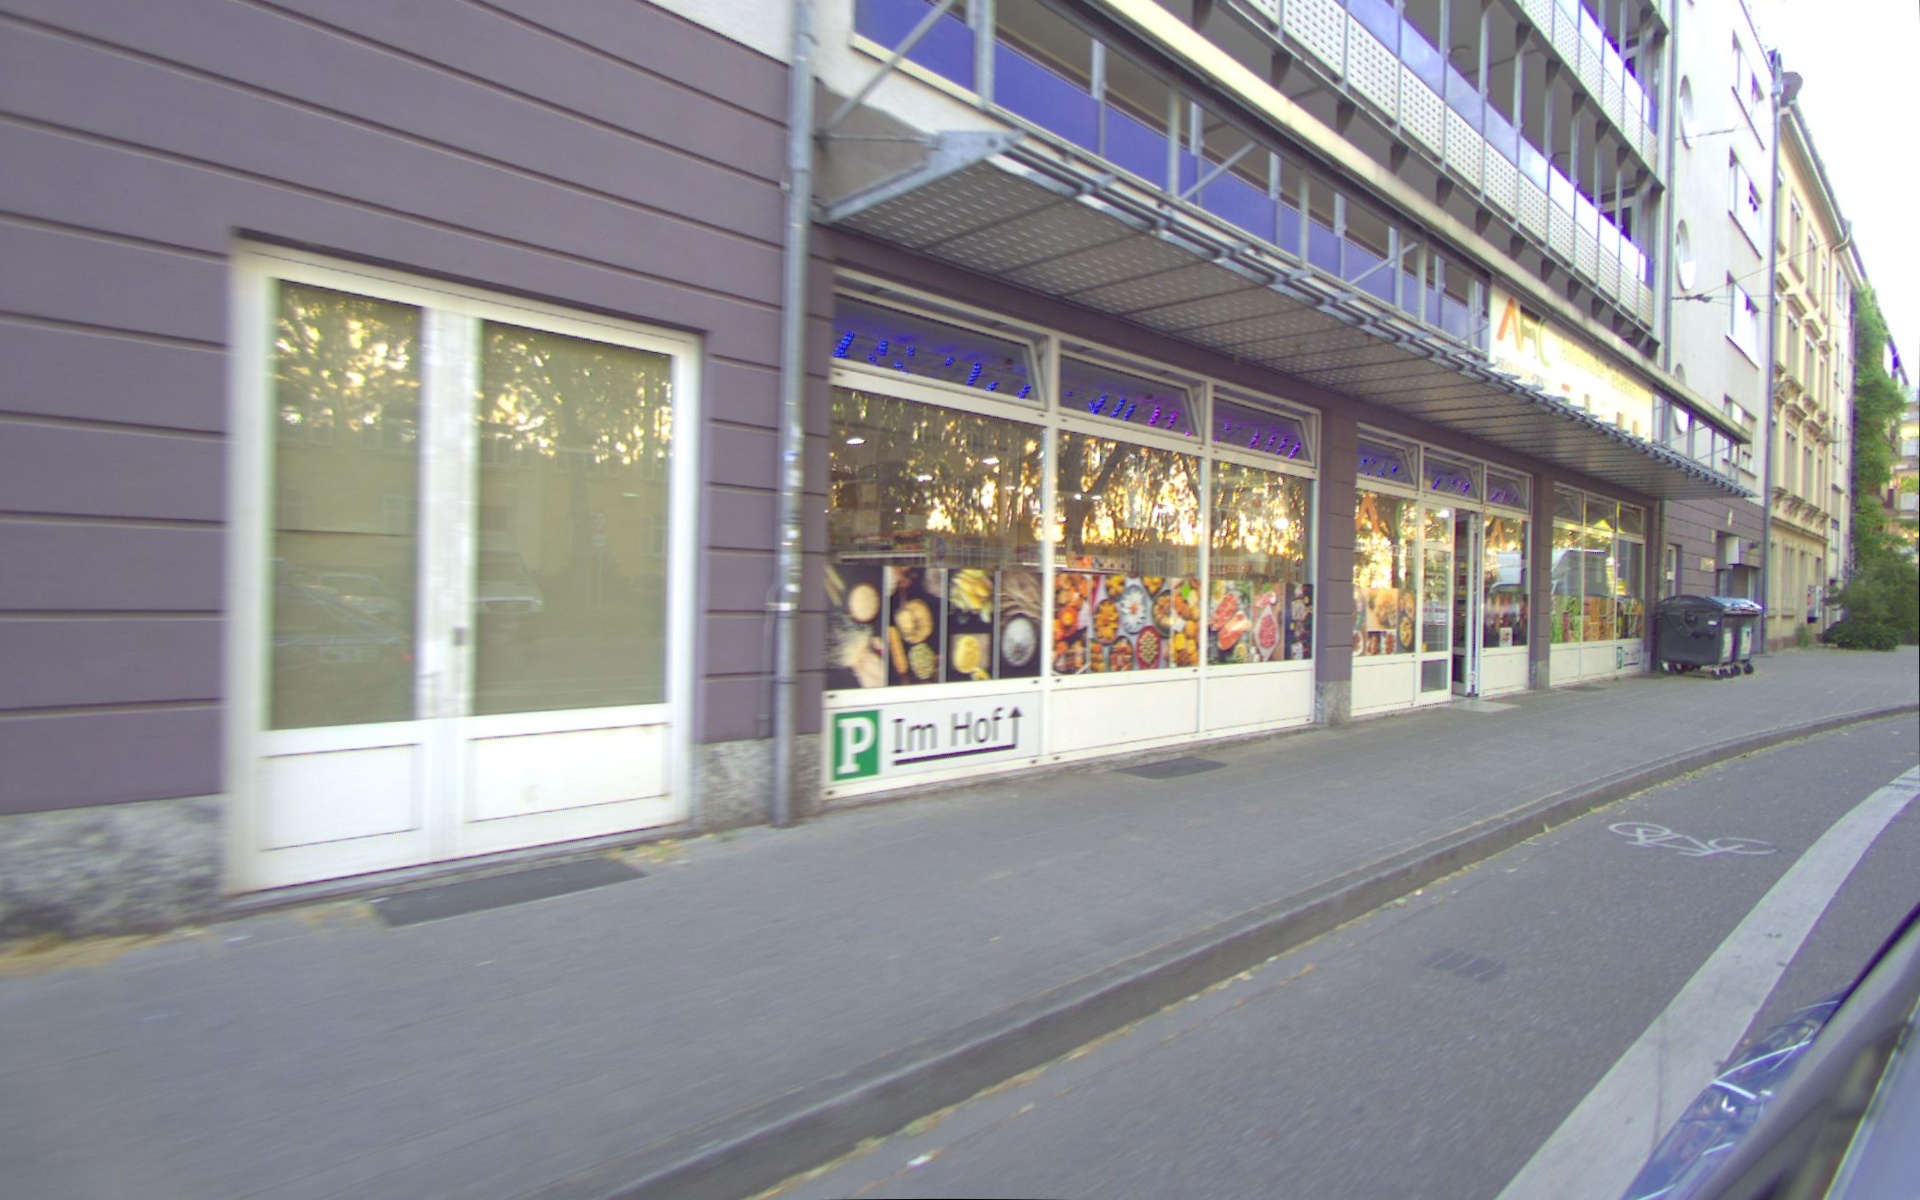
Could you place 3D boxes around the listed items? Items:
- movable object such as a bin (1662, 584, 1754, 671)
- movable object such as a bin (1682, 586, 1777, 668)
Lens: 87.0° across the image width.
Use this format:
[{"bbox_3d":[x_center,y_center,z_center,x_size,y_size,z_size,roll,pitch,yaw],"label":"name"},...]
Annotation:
[{"bbox_3d":[13.235,0.456,17.906,1.274,1.465,1.068,1,1,-42],"label":"movable object such as a bin"},{"bbox_3d":[14.591,0.490,19.185,1.282,1.464,1.123,1,1,-37],"label":"movable object such as a bin"}]
